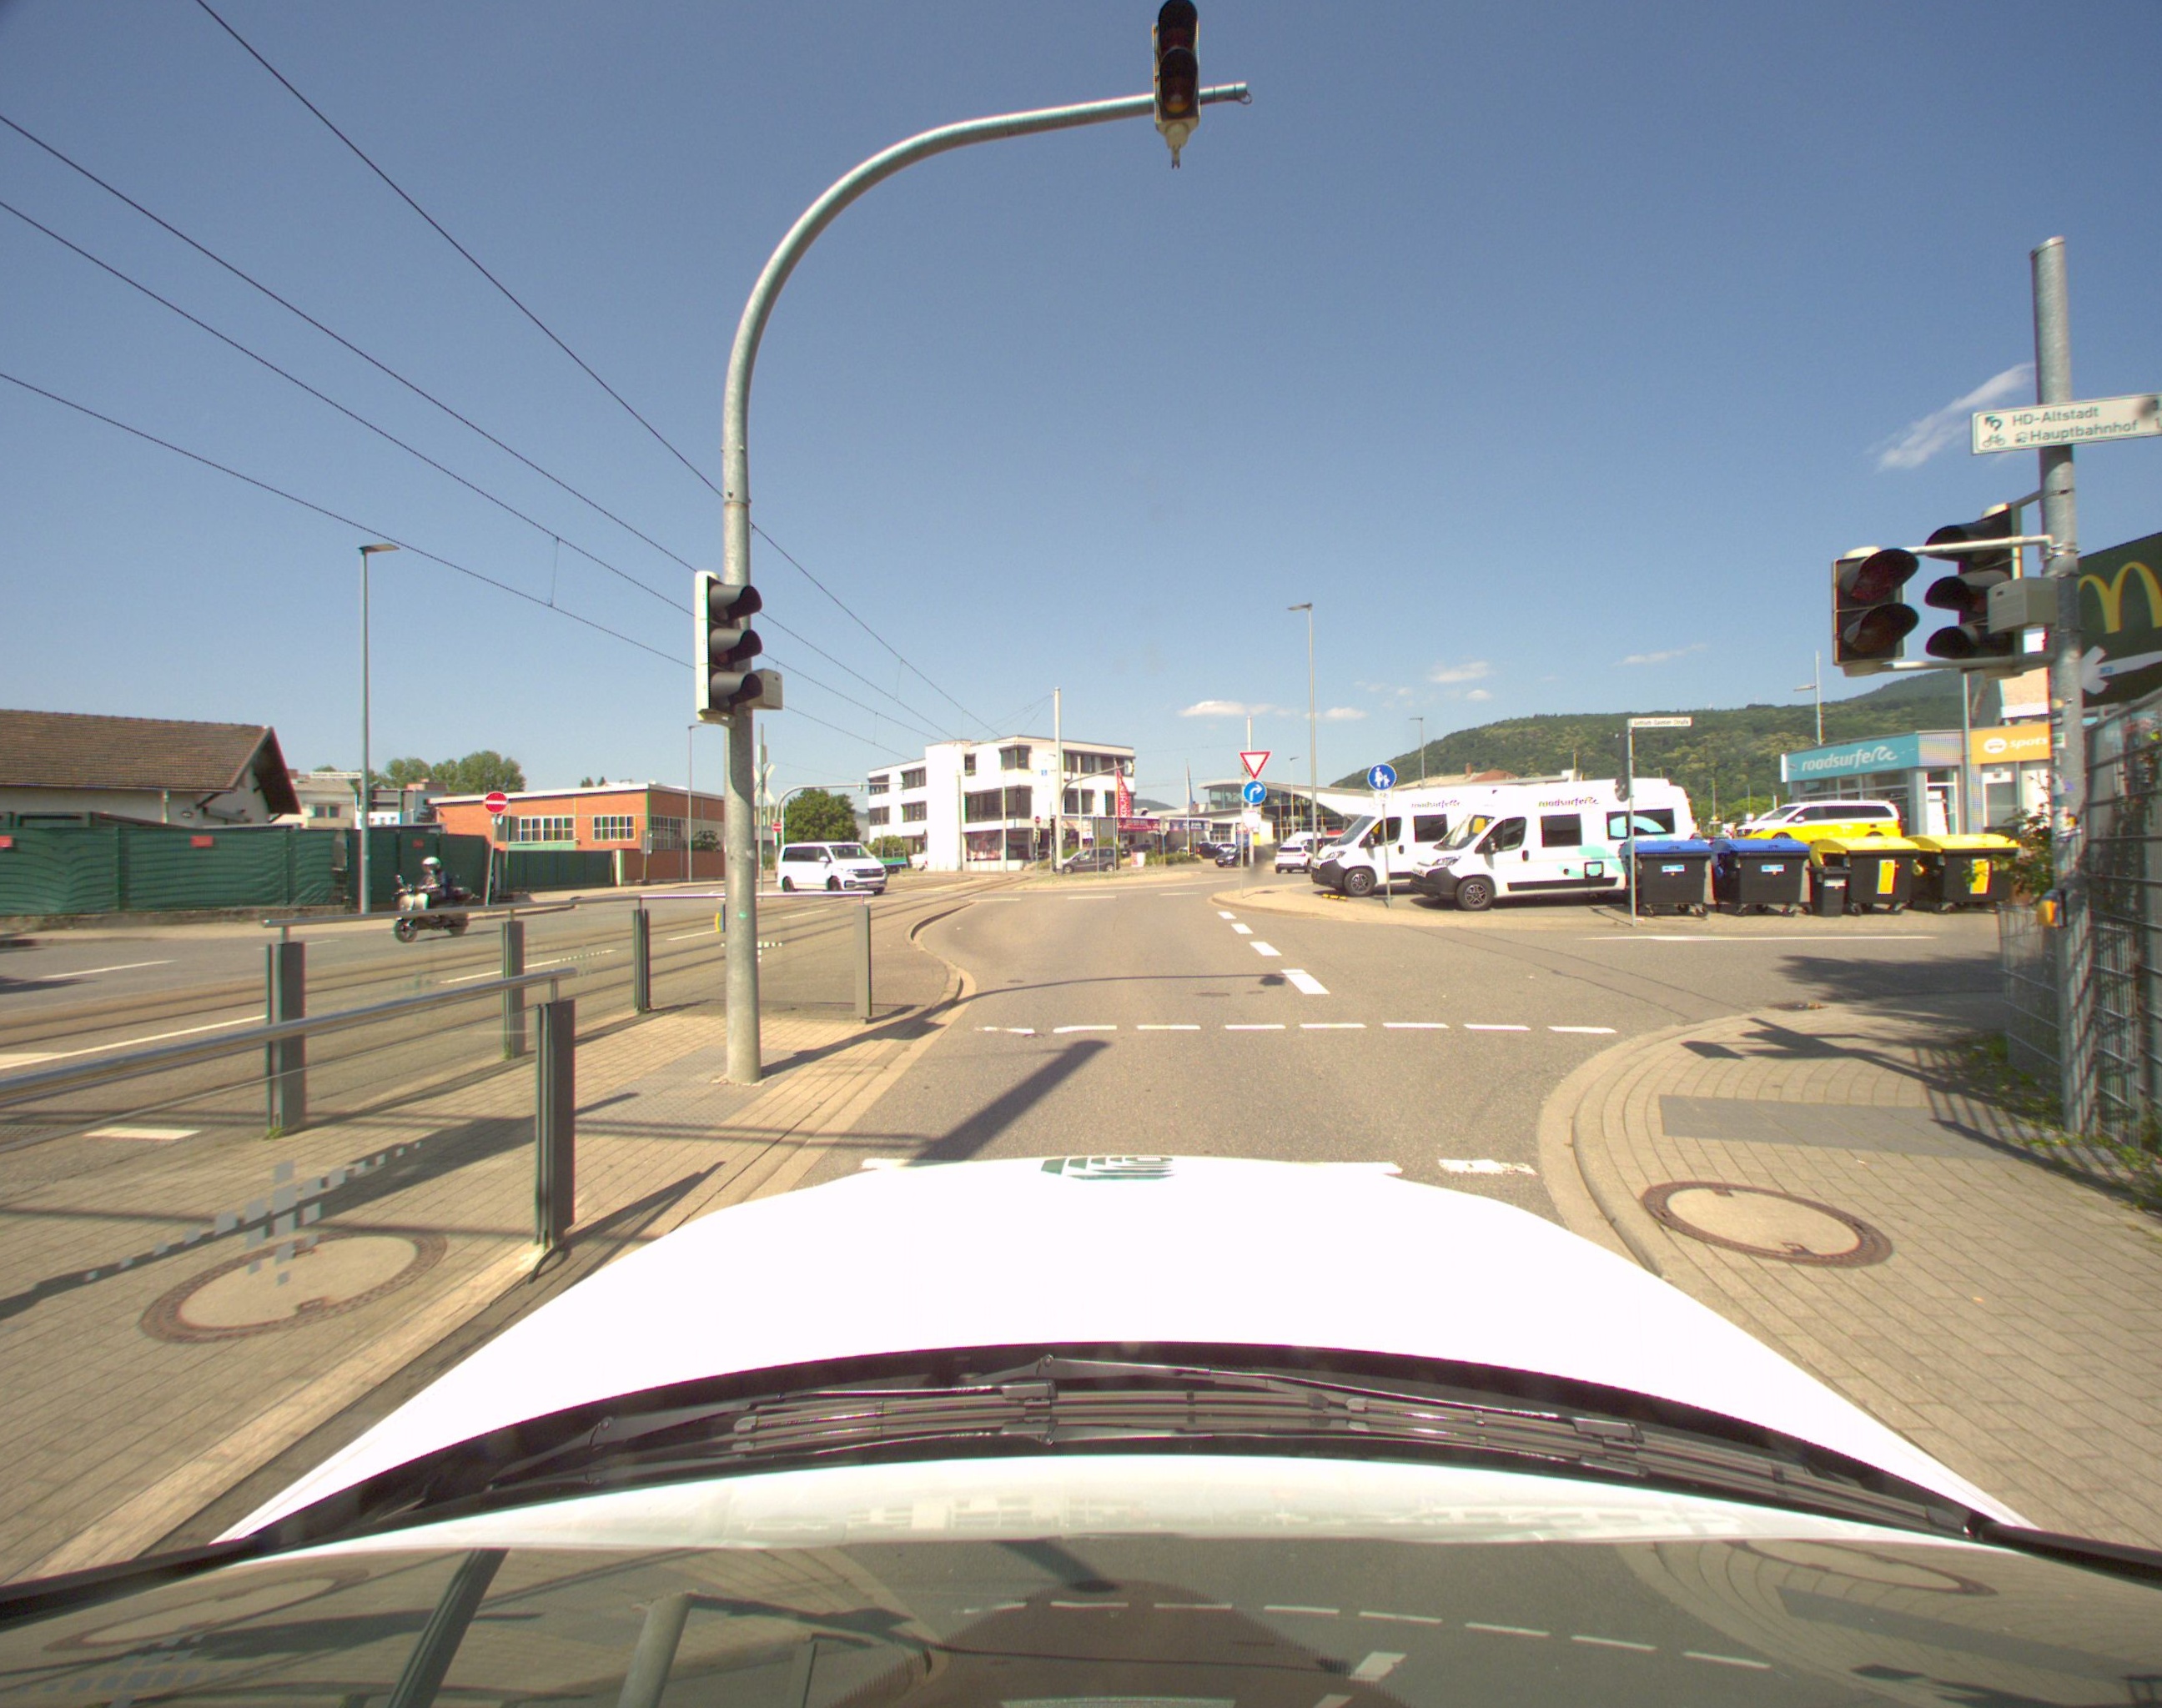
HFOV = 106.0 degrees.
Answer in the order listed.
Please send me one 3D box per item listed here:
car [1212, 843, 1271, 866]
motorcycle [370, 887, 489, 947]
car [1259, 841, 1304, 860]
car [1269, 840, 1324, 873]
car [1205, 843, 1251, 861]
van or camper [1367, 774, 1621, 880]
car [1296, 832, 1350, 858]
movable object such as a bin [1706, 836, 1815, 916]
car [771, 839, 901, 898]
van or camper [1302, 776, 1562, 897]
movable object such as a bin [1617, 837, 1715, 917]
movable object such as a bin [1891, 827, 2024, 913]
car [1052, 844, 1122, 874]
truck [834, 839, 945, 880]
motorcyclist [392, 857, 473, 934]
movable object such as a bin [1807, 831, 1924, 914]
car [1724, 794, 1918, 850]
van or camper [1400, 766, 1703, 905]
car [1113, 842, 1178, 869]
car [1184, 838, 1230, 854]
[{"bbox_3d":[11.473,0.030,58.159,4.266,1.556,1.946,-1,0,-42],"label":"car"},{"bbox_3d":[-12.937,1.217,16.258,0.820,1.011,1.962,-1,0,-2],"label":"motorcycle"},{"bbox_3d":[18.217,-0.298,73.942,4.022,1.618,1.976,-2,0,-43],"label":"car"},{"bbox_3d":[12.215,0.134,45.975,1.975,1.733,4.592,-2,0,27],"label":"car"},{"bbox_3d":[14.686,-0.223,81.115,4.956,1.589,1.863,-1,-2,-44],"label":"car"},{"bbox_3d":[13.380,-0.837,26.793,7.032,2.946,2.337,-3,-1,3],"label":"van or camper"},{"bbox_3d":[19.296,-0.745,64.919,4.666,1.910,2.072,-2,1,-44],"label":"car"},{"bbox_3d":[12.888,0.402,15.505,1.277,1.457,1.023,-1,2,13],"label":"movable object such as a bin"},{"bbox_3d":[-9.057,0.508,29.918,4.953,2.013,2.183,-1,0,40],"label":"car"},{"bbox_3d":[8.884,-0.422,21.088,5.782,2.773,2.094,-2,1,5],"label":"van or camper"},{"bbox_3d":[11.353,0.429,15.851,1.243,1.456,1.084,-1,2,15],"label":"movable object such as a bin"},{"bbox_3d":[16.344,0.279,15.230,1.321,1.531,1.067,-1,2,11],"label":"movable object such as a bin"},{"bbox_3d":[0.347,0.300,53.163,4.389,1.818,1.986,-1,0,-6],"label":"car"},{"bbox_3d":[-11.939,0.316,50.979,6.408,2.337,2.188,-1,0,-30],"label":"truck"},{"bbox_3d":[-12.953,0.813,16.293,0.833,1.475,0.962,-1,0,-3],"label":"motorcyclist"},{"bbox_3d":[14.707,0.325,15.309,1.228,1.475,1.023,-1,2,11],"label":"movable object such as a bin"},{"bbox_3d":[29.195,-1.220,32.319,5.421,2.013,2.143,-1,0,8],"label":"car"},{"bbox_3d":[10.211,-0.405,18.081,5.477,2.813,2.052,-1,2,7],"label":"van or camper"},{"bbox_3d":[5.171,0.090,64.976,5.308,1.965,1.943,-2,0,-40],"label":"car"},{"bbox_3d":[11.626,-0.762,74.842,4.342,1.427,2.008,-1,0,-44],"label":"car"}]
